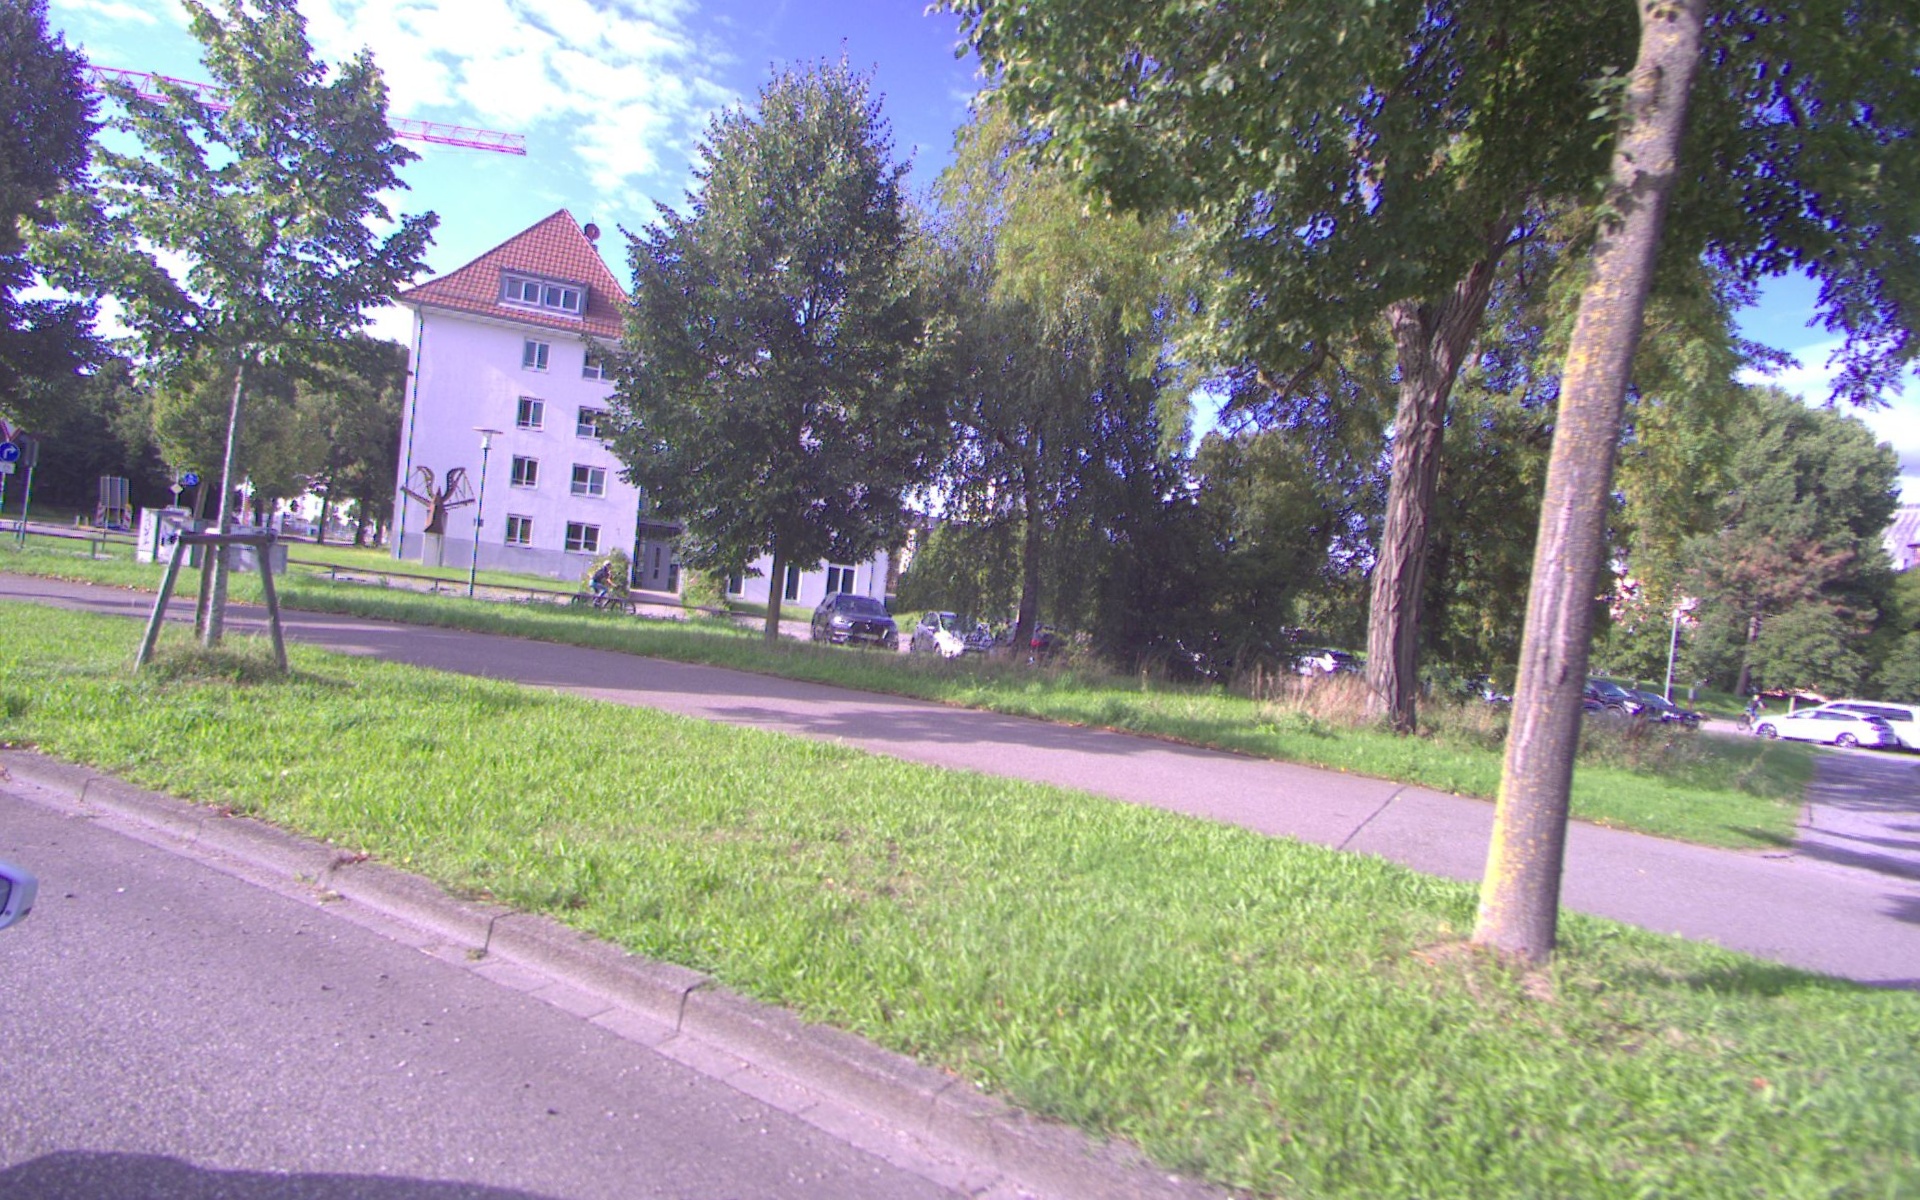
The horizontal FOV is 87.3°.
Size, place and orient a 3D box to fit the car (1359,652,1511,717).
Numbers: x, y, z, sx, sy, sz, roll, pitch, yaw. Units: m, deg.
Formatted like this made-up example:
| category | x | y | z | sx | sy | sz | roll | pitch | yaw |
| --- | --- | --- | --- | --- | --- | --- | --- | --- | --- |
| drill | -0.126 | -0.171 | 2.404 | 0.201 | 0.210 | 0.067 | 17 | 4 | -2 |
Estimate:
| category | x | y | z | sx | sy | sz | roll | pitch | yaw |
| --- | --- | --- | --- | --- | --- | --- | --- | --- | --- |
| car | 15.809 | 2.780 | 33.778 | 1.832 | 1.534 | 4.732 | 6 | 0 | -16 |

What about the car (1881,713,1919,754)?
| category | x | y | z | sx | sy | sz | roll | pitch | yaw |
| --- | --- | --- | --- | --- | --- | --- | --- | --- | --- |
| car | 41.705 | 5.855 | 42.161 | 2.001 | 1.534 | 4.106 | 6 | 0 | -8 |

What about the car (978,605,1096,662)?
| category | x | y | z | sx | sy | sz | roll | pitch | yaw |
| --- | --- | --- | --- | --- | --- | --- | --- | --- | --- |
| car | 2.135 | 0.939 | 29.475 | 1.832 | 1.222 | 4.717 | 6 | 0 | -16 |

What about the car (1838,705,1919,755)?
| category | x | y | z | sx | sy | sz | roll | pitch | yaw |
| --- | --- | --- | --- | --- | --- | --- | --- | --- | --- |
| car | 39.600 | 5.521 | 41.668 | 2.066 | 1.695 | 4.462 | 6 | 0 | -8 |

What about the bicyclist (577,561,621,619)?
| category | x | y | z | sx | sy | sz | roll | pitch | yaw |
| --- | --- | --- | --- | --- | --- | --- | --- | --- | --- |
| bicyclist | -10.820 | -0.293 | 30.179 | 0.943 | 1.594 | 0.771 | 6 | 1 | -8 |

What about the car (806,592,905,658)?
| category | x | y | z | sx | sy | sz | roll | pitch | yaw |
| --- | --- | --- | --- | --- | --- | --- | --- | --- | --- |
| car | -2.969 | 0.624 | 27.604 | 1.832 | 1.398 | 4.500 | 6 | 0 | -16 |

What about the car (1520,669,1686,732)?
| category | x | y | z | sx | sy | sz | roll | pitch | yaw |
| --- | --- | --- | --- | --- | --- | --- | --- | --- | --- |
| car | 22.877 | 3.530 | 36.055 | 1.832 | 1.534 | 4.928 | 6 | 0 | -16 |

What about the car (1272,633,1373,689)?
| category | x | y | z | sx | sy | sz | roll | pitch | yaw |
| --- | --- | --- | --- | --- | --- | --- | --- | --- | --- |
| car | 16.719 | 2.769 | 46.656 | 1.848 | 2.037 | 4.799 | 8 | -2 | -14 |

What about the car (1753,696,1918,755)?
| category | x | y | z | sx | sy | sz | roll | pitch | yaw |
| --- | --- | --- | --- | --- | --- | --- | --- | --- | --- |
| car | 34.241 | 4.877 | 39.511 | 1.836 | 1.534 | 4.444 | 6 | 0 | -23 |

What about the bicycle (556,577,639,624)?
| category | x | y | z | sx | sy | sz | roll | pitch | yaw |
| --- | --- | --- | --- | --- | --- | --- | --- | --- | --- |
| bicycle | -10.848 | 0.025 | 30.188 | 2.113 | 1.151 | 0.771 | 7 | 0 | -9 |

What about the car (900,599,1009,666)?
| category | x | y | z | sx | sy | sz | roll | pitch | yaw |
| --- | --- | --- | --- | --- | --- | --- | --- | --- | --- |
| car | -0.266 | 0.867 | 28.839 | 1.832 | 1.458 | 4.717 | 6 | 0 | -16 |

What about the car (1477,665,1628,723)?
| category | x | y | z | sx | sy | sz | roll | pitch | yaw |
| --- | --- | --- | --- | --- | --- | --- | --- | --- | --- |
| car | 20.827 | 3.271 | 35.607 | 1.832 | 1.379 | 4.454 | 6 | 0 | -16 |

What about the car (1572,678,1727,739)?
| category | x | y | z | sx | sy | sz | roll | pitch | yaw |
| --- | --- | --- | --- | --- | --- | --- | --- | --- | --- |
| car | 25.233 | 3.927 | 37.042 | 1.832 | 1.534 | 4.454 | 6 | 0 | -16 |

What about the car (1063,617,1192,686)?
| category | x | y | z | sx | sy | sz | roll | pitch | yaw |
| --- | --- | --- | --- | --- | --- | --- | --- | --- | --- |
| car | 4.872 | 1.466 | 30.032 | 1.832 | 1.534 | 4.717 | 6 | 0 | -16 |

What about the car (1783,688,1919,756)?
| category | x | y | z | sx | sy | sz | roll | pitch | yaw |
| --- | --- | --- | --- | --- | --- | --- | --- | --- | --- |
| car | 36.791 | 4.946 | 40.592 | 2.279 | 2.032 | 5.100 | 6 | 0 | -13 |

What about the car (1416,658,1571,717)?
| category | x | y | z | sx | sy | sz | roll | pitch | yaw |
| --- | --- | --- | --- | --- | --- | --- | --- | --- | --- |
| car | 18.397 | 2.982 | 34.987 | 1.832 | 1.375 | 4.817 | 6 | 0 | -16 |
